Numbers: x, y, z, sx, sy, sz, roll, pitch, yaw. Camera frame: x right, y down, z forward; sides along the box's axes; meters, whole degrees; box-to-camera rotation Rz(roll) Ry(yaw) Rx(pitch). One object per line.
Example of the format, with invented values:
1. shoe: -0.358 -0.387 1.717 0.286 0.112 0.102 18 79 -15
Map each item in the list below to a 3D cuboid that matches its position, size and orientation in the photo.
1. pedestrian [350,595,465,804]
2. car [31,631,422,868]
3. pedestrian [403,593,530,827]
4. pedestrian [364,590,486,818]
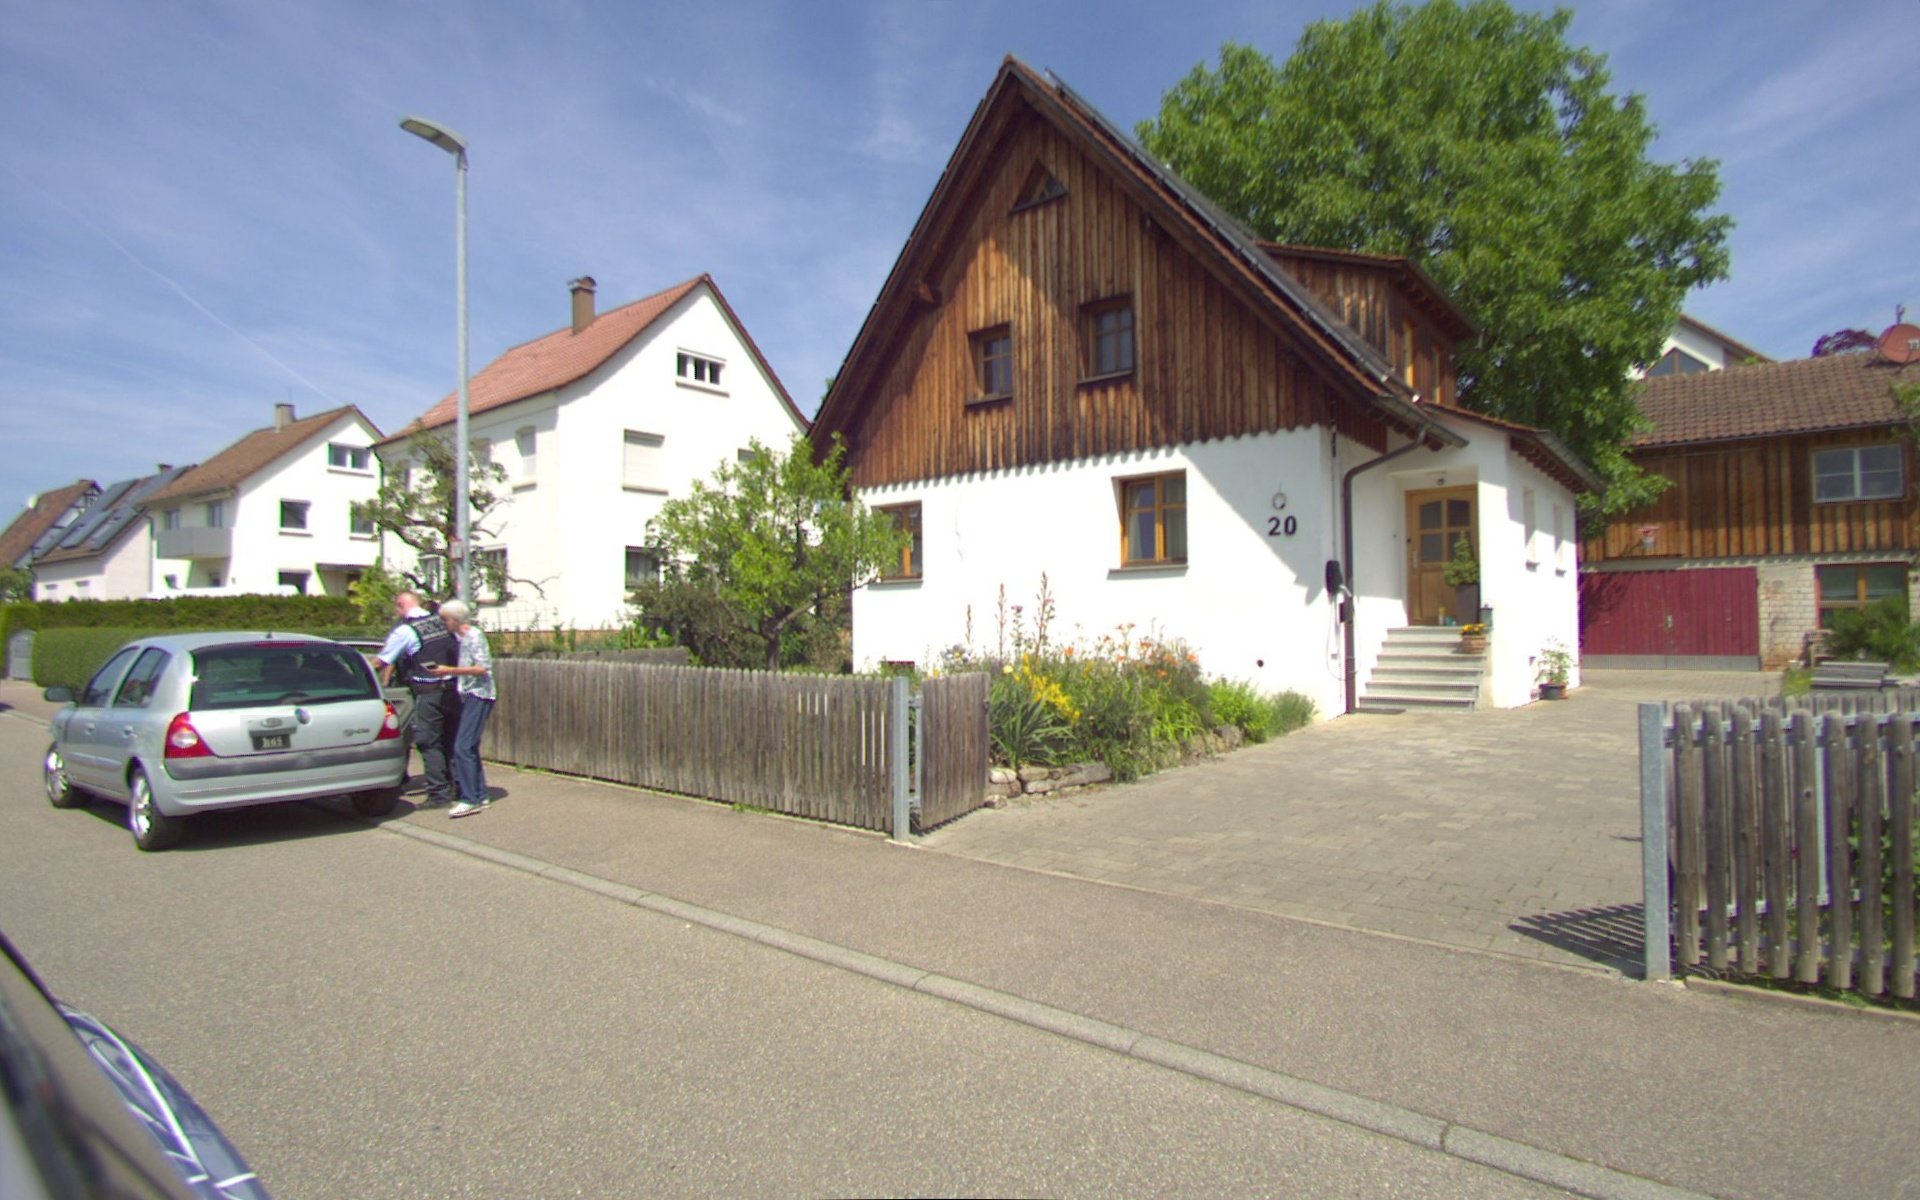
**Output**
1. pedestrian: -4.648 0.802 8.518 0.590 1.655 0.632 -2 0 39
2. car: -5.741 0.967 7.834 3.260 1.453 1.567 -1 -2 37
3. pedestrian: -3.724 0.789 7.645 0.599 1.655 0.632 -2 0 39
4. pedestrian: -4.236 0.784 8.018 0.590 1.694 0.632 -2 0 39
